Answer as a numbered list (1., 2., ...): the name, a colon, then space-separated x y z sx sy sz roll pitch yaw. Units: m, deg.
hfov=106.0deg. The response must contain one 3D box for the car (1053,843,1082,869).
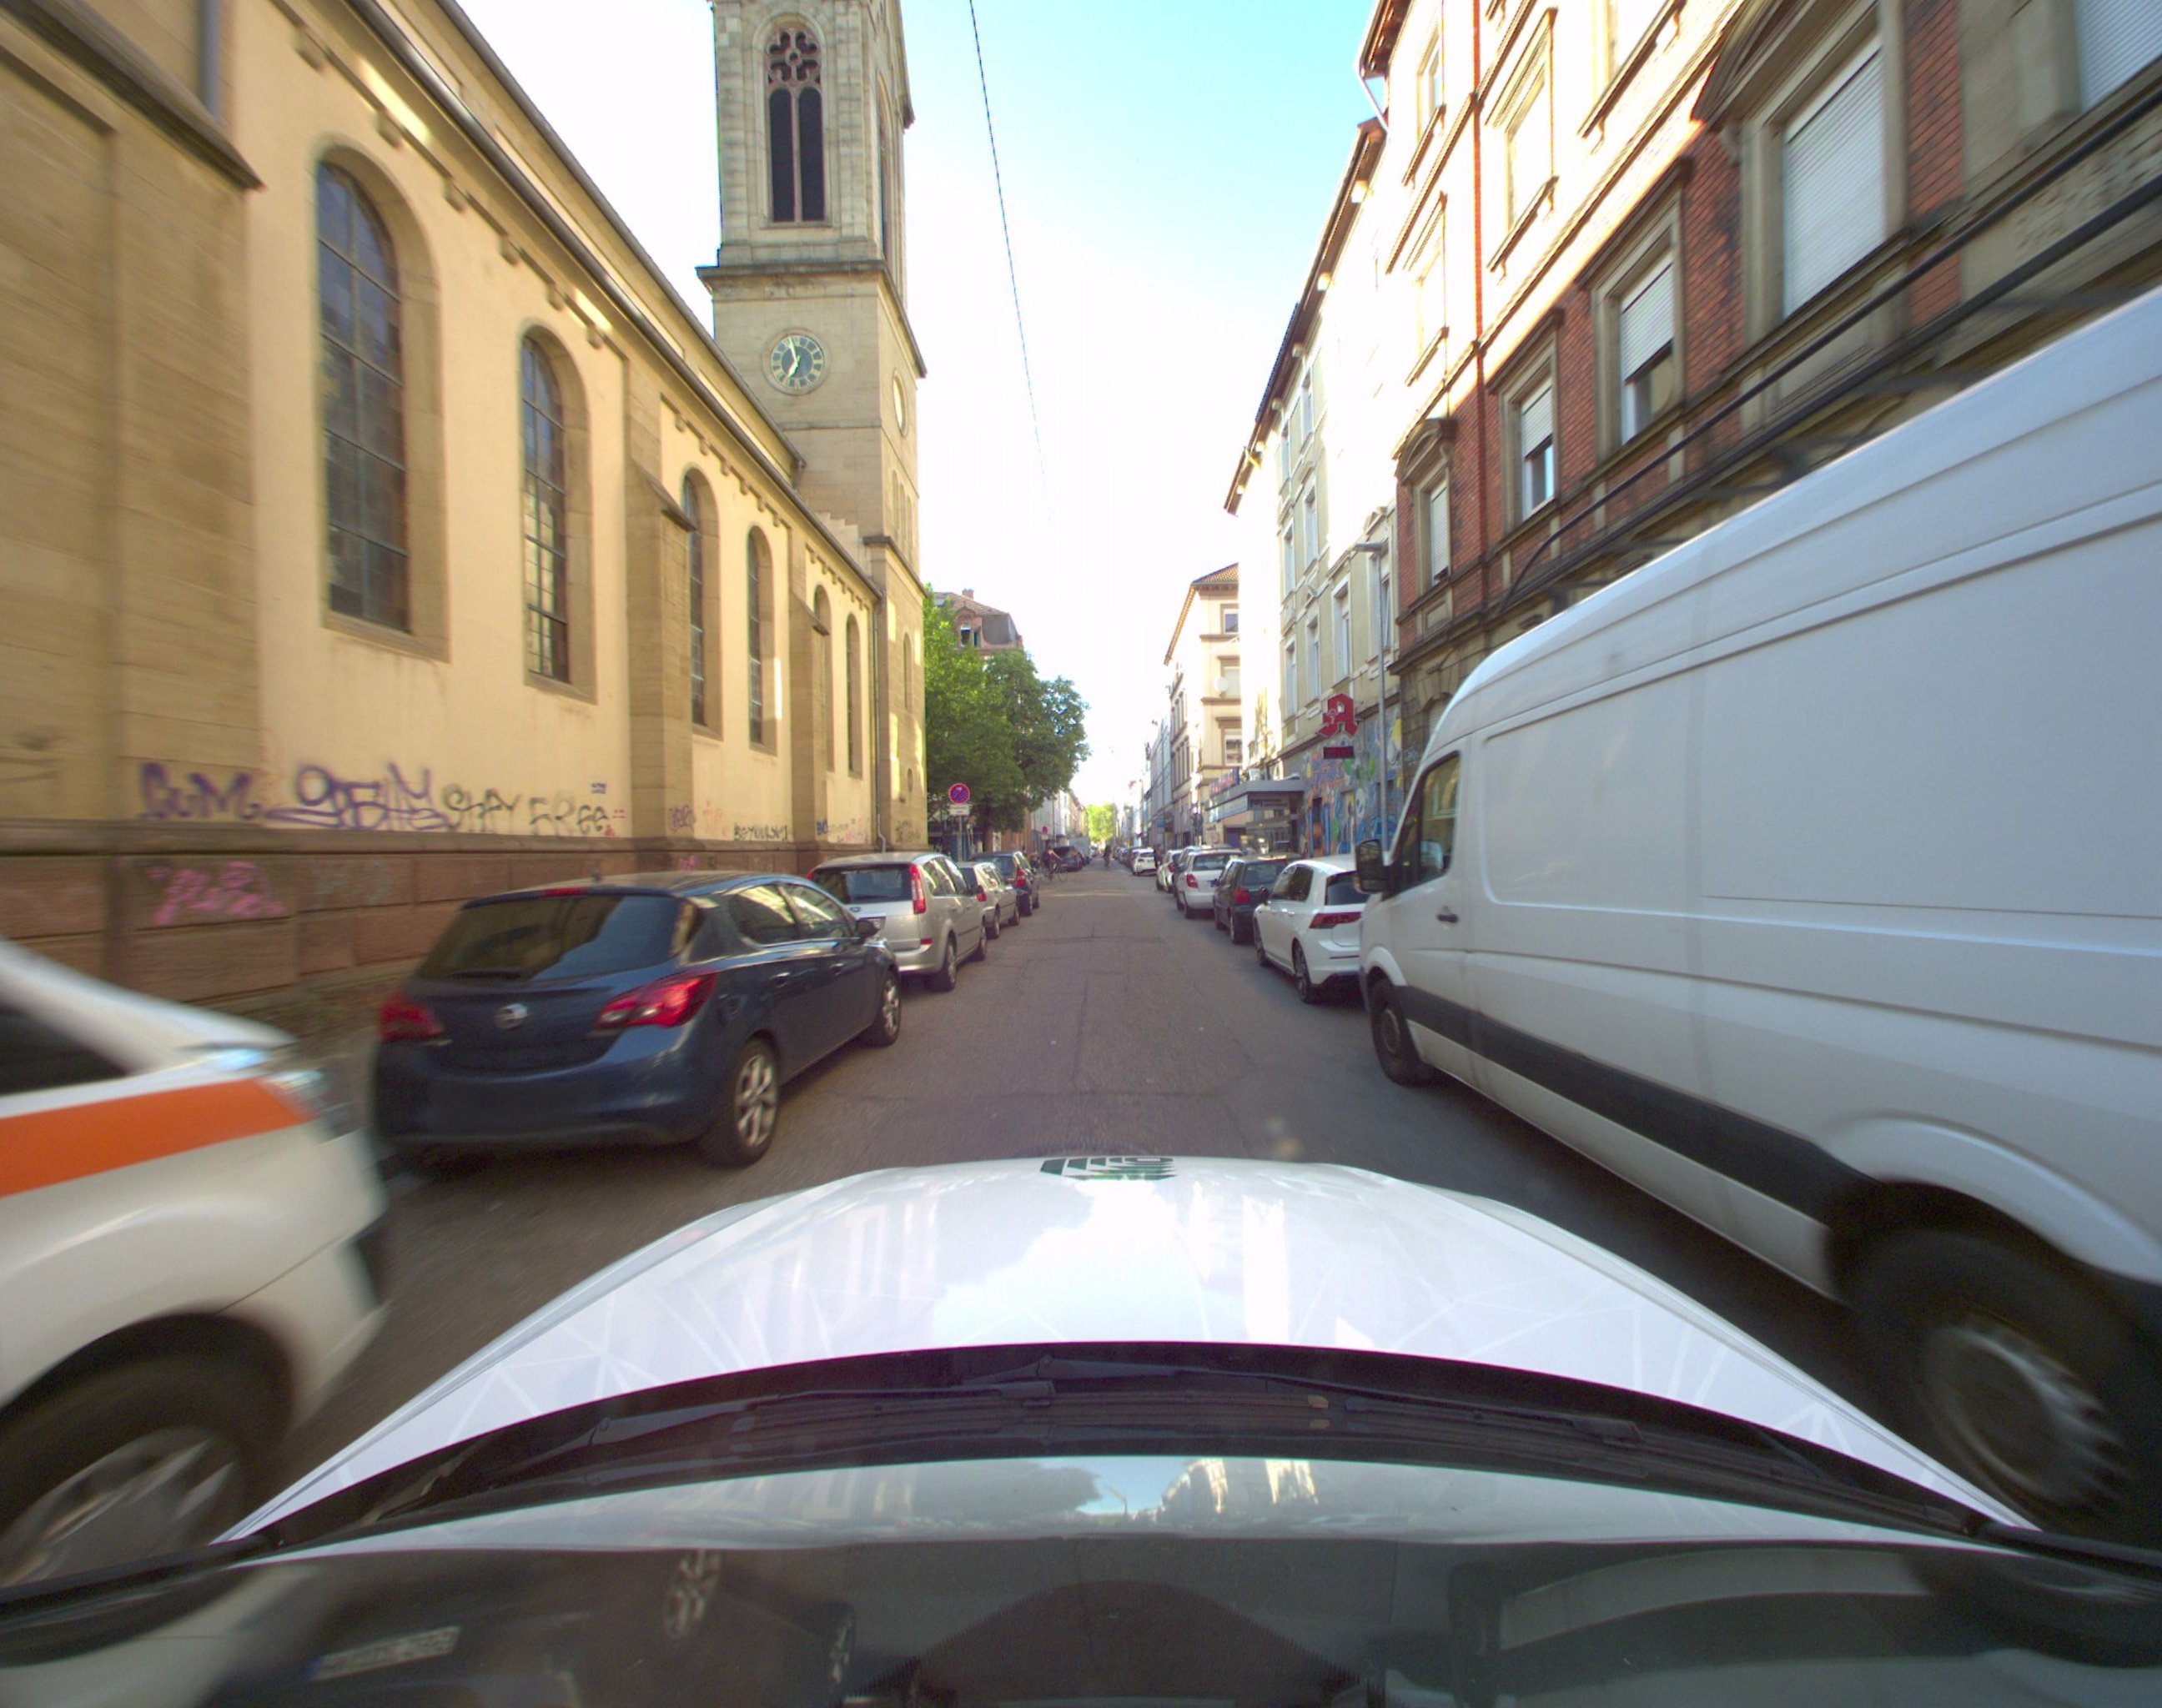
1. car: -0.970 0.115 59.987 1.868 1.796 4.002 -2 0 2

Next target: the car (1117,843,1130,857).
1. car: 6.475 -0.646 124.477 1.986 2.013 4.002 -2 0 2

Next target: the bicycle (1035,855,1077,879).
1. bicycle: -1.222 0.611 39.825 1.956 1.110 0.759 -2 0 -37

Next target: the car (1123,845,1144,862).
1. car: 5.242 -0.088 81.916 1.986 1.632 4.002 1 0 2

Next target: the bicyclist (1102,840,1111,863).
1. bicyclist: 1.925 -0.213 60.887 0.603 1.688 0.885 -2 0 1

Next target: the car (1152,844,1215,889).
1. car: 3.669 0.424 29.733 1.711 1.488 3.868 -2 0 -1

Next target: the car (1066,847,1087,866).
1. car: -0.455 0.202 81.701 1.868 1.796 4.002 -2 0 2

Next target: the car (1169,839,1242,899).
1. car: 3.716 0.413 24.869 1.710 1.645 4.002 -2 0 2

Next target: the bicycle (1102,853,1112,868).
1. bicycle: 1.942 0.462 60.920 0.736 1.043 1.860 -2 0 2

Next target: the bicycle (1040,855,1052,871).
1. bicycle: -2.462 0.604 57.085 0.644 1.108 1.600 -2 0 -9

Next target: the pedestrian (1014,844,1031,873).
1. pedestrian: -3.710 0.276 51.905 0.925 1.786 0.807 -2 0 2

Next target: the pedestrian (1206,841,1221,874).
1. pedestrian: 6.606 0.158 40.676 0.460 1.642 0.496 -2 0 -39

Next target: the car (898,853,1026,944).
1. car: -2.187 0.763 15.930 1.563 1.398 3.813 -5 0 4

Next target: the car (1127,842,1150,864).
1. car: 4.837 -0.073 68.733 1.762 1.741 4.002 -2 1 2

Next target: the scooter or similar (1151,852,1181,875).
1. scooter or similar: 4.345 0.472 41.632 1.521 1.139 0.602 -2 0 6

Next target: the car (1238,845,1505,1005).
1. car: 3.123 0.638 9.755 1.773 1.486 4.362 0 0 2

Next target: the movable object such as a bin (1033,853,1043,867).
1. movable object such as a bin: -3.594 0.506 67.406 0.710 1.141 0.584 -2 0 5

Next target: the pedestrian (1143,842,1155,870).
1. pedestrian: 4.428 0.121 53.085 0.779 1.843 1.013 -1 0 4

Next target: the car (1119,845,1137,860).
1. car: 5.319 -0.179 92.612 1.986 1.686 4.002 1 0 2

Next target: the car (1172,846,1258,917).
1. car: 3.095 0.577 19.420 1.597 1.504 4.003 0 0 3

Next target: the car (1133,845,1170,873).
1. car: 4.101 0.269 47.868 1.890 1.488 3.871 -2 0 2

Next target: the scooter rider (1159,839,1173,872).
1. scooter rider: 4.354 0.064 41.632 0.646 1.642 0.685 -2 0 7

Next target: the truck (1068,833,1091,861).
1. truck: -0.135 -0.844 98.397 2.522 3.281 6.998 -2 0 2

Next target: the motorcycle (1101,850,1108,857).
1. motorcycle: 3.598 -0.087 124.289 1.039 0.980 2.824 -2 0 0

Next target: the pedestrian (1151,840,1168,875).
1. pedestrian: 4.140 0.188 42.913 0.681 1.843 0.692 -1 0 -10

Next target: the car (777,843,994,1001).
1. car: -2.231 0.688 10.398 1.667 1.558 4.001 -3 0 1

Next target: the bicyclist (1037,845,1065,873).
1. bicyclist: -1.463 0.230 39.649 1.067 1.306 0.749 -2 0 -37

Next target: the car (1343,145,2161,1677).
1. car: 2.932 0.072 3.202 2.060 2.610 5.891 -1 1 2

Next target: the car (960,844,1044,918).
1. car: -1.936 0.619 20.863 1.594 1.614 3.809 -4 0 1

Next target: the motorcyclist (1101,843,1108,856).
1. motorcyclist: 3.620 -0.675 124.814 0.899 2.013 1.190 -2 0 0

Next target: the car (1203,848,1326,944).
1. car: 3.174 0.651 14.688 1.563 1.495 3.656 0 0 3

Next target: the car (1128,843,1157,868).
1. car: 4.331 0.085 58.036 1.890 1.651 4.002 -2 0 2

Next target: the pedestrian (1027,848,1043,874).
1. pedestrian: -3.021 0.444 53.578 0.925 1.637 0.807 -2 0 2

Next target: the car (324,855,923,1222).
1. car: -2.351 0.798 5.472 1.609 1.451 3.952 -3 0 2
